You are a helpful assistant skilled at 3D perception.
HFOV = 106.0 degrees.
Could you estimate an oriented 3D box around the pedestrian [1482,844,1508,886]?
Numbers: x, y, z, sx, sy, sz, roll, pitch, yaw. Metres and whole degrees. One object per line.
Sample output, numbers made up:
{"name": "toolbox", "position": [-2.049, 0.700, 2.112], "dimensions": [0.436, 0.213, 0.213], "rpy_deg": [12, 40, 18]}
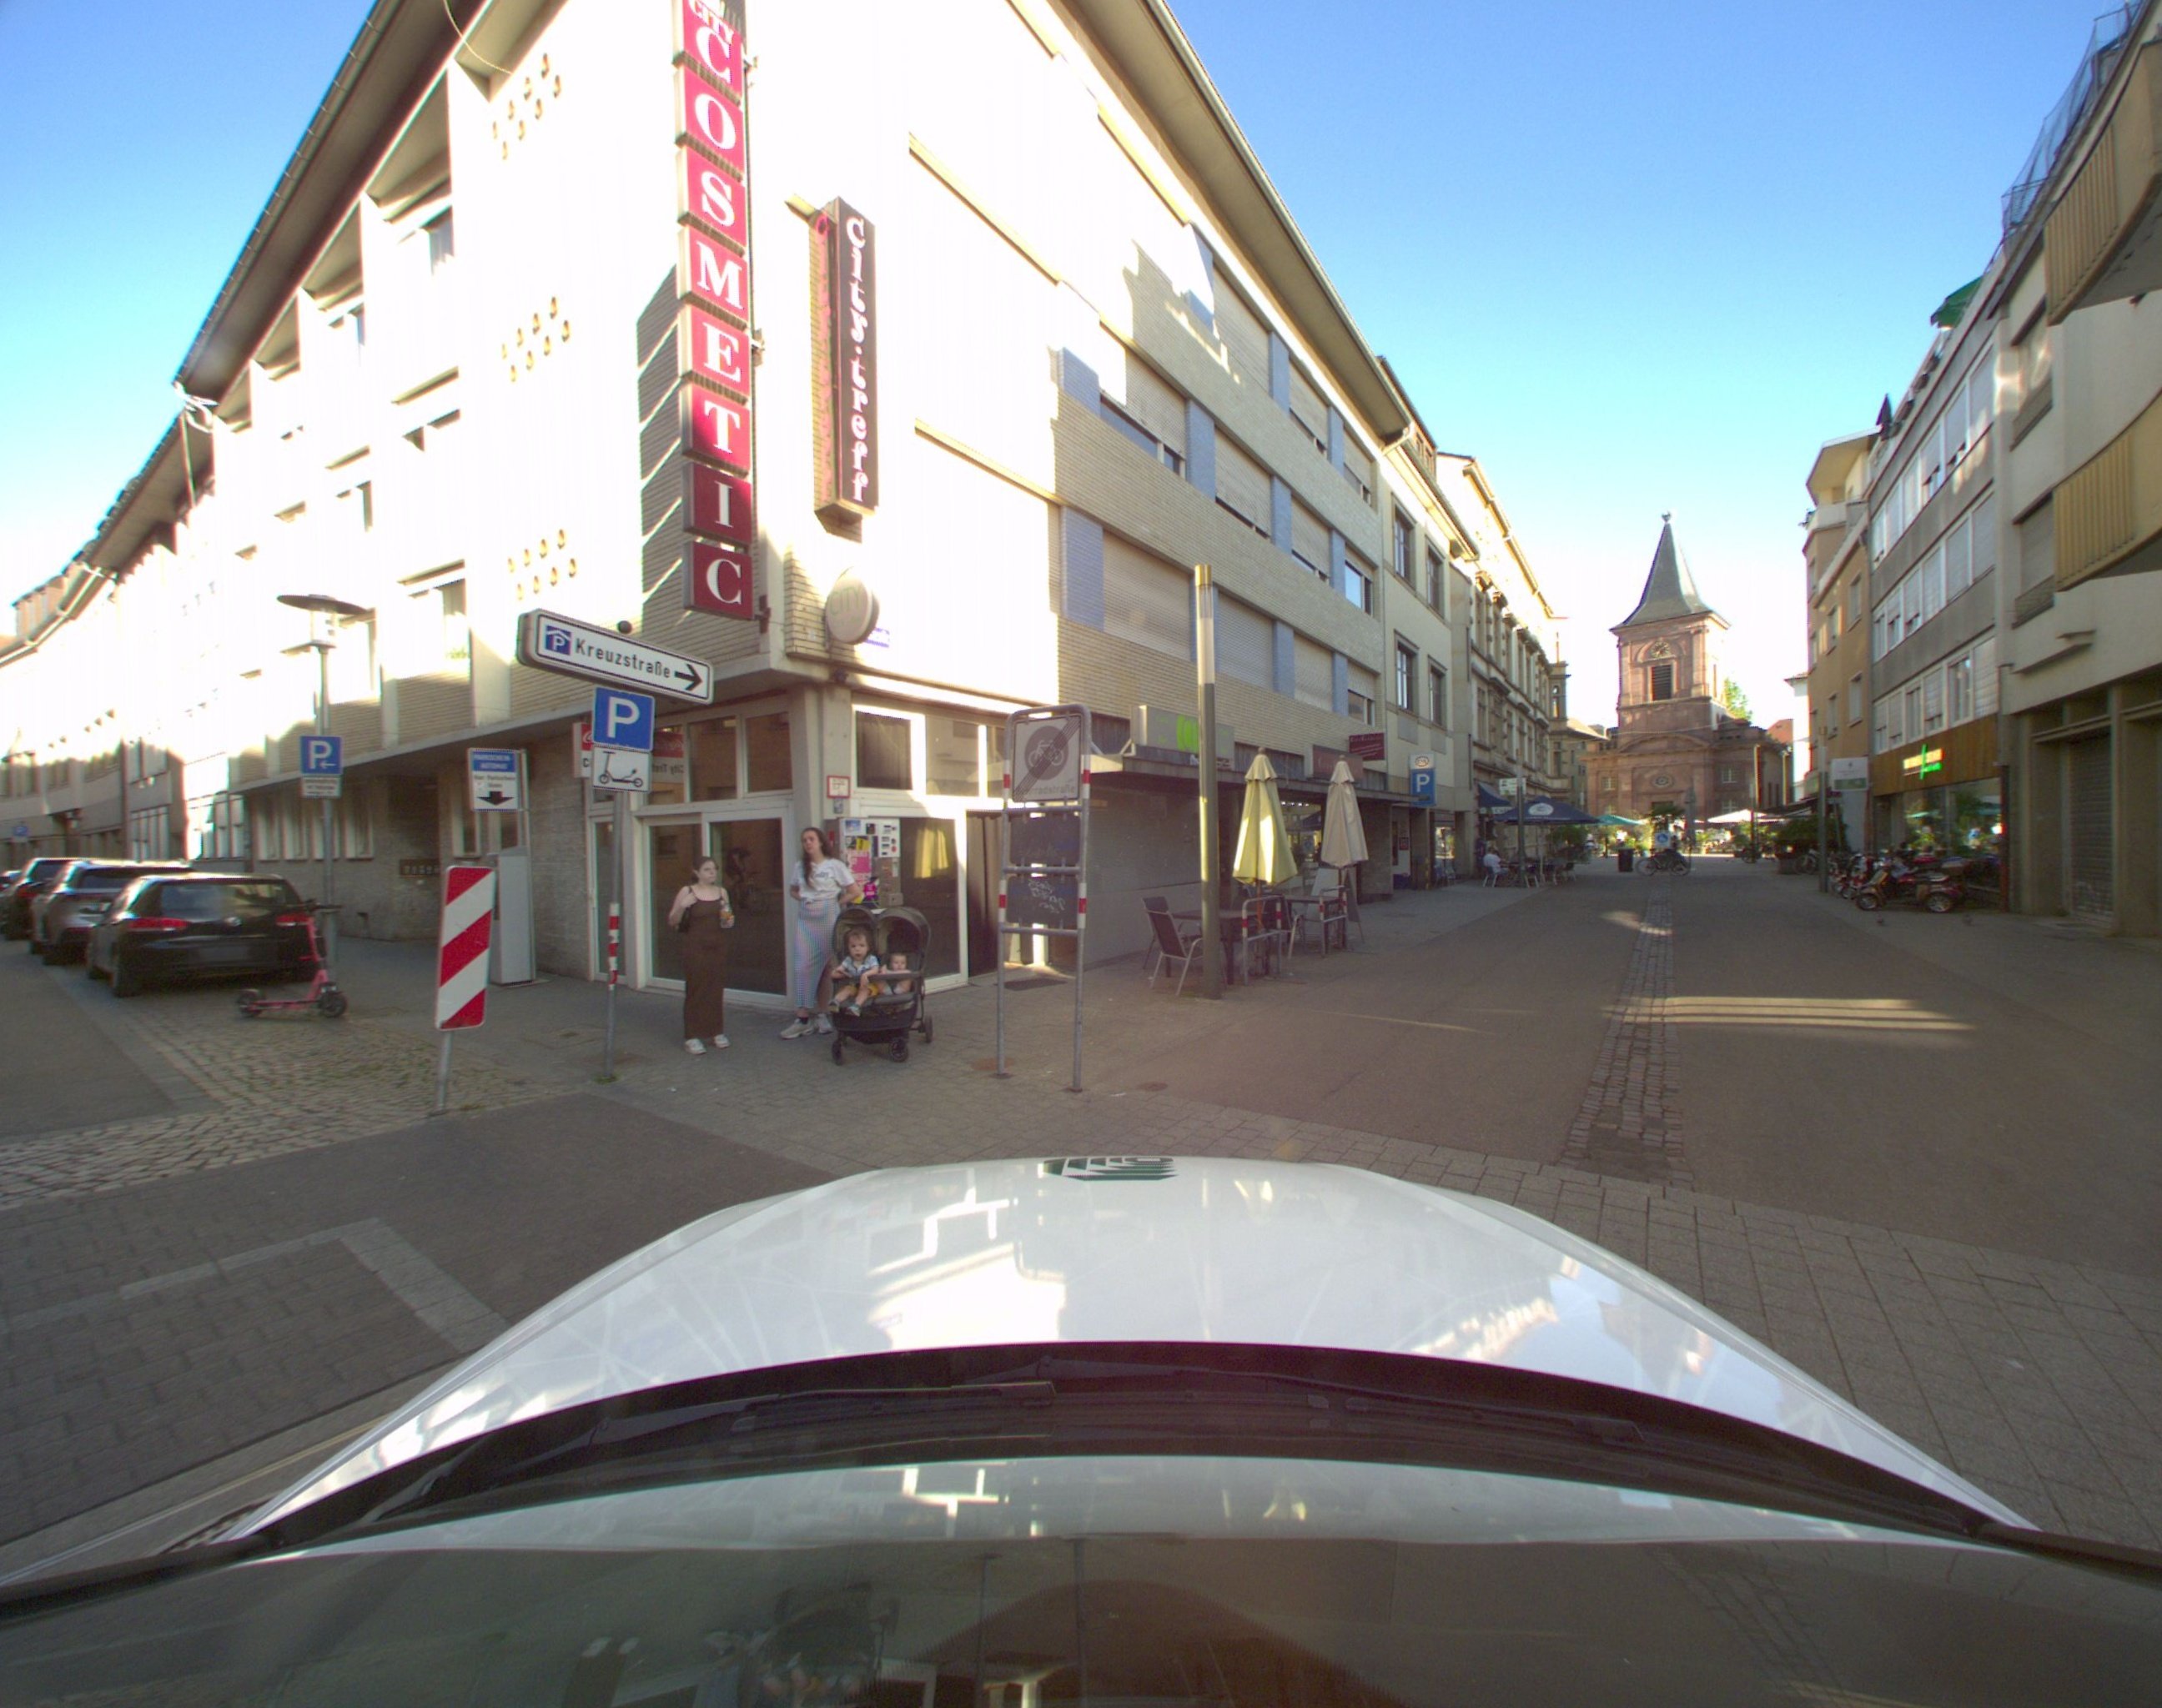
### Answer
{"name": "pedestrian", "position": [13.607, 0.358, 26.776], "dimensions": [0.701, 1.368, 0.724], "rpy_deg": [-1, 0, 24]}

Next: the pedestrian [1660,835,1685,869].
{"name": "pedestrian", "position": [26.210, -0.094, 36.078], "dimensions": [0.875, 1.464, 0.735], "rpy_deg": [-1, 0, 37]}

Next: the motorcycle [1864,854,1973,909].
{"name": "motorcycle", "position": [17.254, 0.547, 16.812], "dimensions": [0.414, 1.075, 1.505], "rpy_deg": [-1, 0, -35]}

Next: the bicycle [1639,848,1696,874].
{"name": "bicycle", "position": [23.388, 0.289, 32.489], "dimensions": [1.806, 1.005, 0.384], "rpy_deg": [-1, 1, 33]}

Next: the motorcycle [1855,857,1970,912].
{"name": "motorcycle", "position": [16.584, 0.598, 16.271], "dimensions": [0.374, 1.041, 1.552], "rpy_deg": [-1, 0, -35]}

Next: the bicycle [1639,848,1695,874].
{"name": "bicycle", "position": [23.603, 0.277, 32.821], "dimensions": [1.806, 1.005, 0.384], "rpy_deg": [-1, 1, 33]}

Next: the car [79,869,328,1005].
{"name": "car", "position": [-11.831, 0.963, 10.930], "dimensions": [3.762, 1.486, 1.752], "rpy_deg": [0, -1, 35]}

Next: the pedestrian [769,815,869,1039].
{"name": "pedestrian", "position": [-2.240, 0.594, 7.039], "dimensions": [0.658, 1.819, 0.568], "rpy_deg": [-4, 2, -13]}

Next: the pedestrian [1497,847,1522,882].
{"name": "pedestrian", "position": [15.255, 0.374, 28.986], "dimensions": [0.757, 1.233, 0.836], "rpy_deg": [-1, 1, 28]}

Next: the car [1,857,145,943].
{"name": "car", "position": [-22.185, 0.949, 17.890], "dimensions": [3.960, 1.704, 1.684], "rpy_deg": [-1, -2, 35]}

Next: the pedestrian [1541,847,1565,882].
{"name": "pedestrian", "position": [16.712, 0.362, 28.836], "dimensions": [0.685, 1.215, 0.587], "rpy_deg": [-1, 0, 28]}

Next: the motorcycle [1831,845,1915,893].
{"name": "motorcycle", "position": [20.176, 0.379, 20.760], "dimensions": [0.414, 1.181, 1.471], "rpy_deg": [-1, 0, -39]}

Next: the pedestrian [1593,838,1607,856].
{"name": "pedestrian", "position": [35.958, -0.466, 56.439], "dimensions": [0.694, 1.218, 0.724], "rpy_deg": [-1, 1, 42]}

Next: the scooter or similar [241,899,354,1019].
{"name": "scooter or similar", "position": [-8.080, 1.076, 8.410], "dimensions": [0.878, 1.183, 0.208], "rpy_deg": [-1, 0, -5]}

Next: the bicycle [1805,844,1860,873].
{"name": "bicycle", "position": [27.019, 0.167, 29.297], "dimensions": [1.449, 1.005, 0.576], "rpy_deg": [-1, 1, 43]}

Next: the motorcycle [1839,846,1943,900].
{"name": "motorcycle", "position": [18.442, 0.428, 18.577], "dimensions": [0.482, 1.175, 1.612], "rpy_deg": [-1, 0, -35]}

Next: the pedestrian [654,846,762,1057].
{"name": "pedestrian", "position": [-2.992, 0.748, 6.546], "dimensions": [0.504, 1.579, 0.537], "rpy_deg": [-1, 3, 42]}

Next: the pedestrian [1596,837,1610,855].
{"name": "pedestrian", "position": [36.889, -0.557, 57.541], "dimensions": [0.694, 1.218, 0.724], "rpy_deg": [-1, 1, 42]}

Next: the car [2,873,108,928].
{"name": "car", "position": [-27.776, 1.204, 22.030], "dimensions": [3.578, 1.391, 1.530], "rpy_deg": [-1, -2, 35]}

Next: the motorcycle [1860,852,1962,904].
{"name": "motorcycle", "position": [17.881, 0.511, 17.574], "dimensions": [0.414, 1.075, 1.472], "rpy_deg": [-1, 0, -35]}

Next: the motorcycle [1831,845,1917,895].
{"name": "motorcycle", "position": [19.646, 0.398, 20.194], "dimensions": [0.414, 1.181, 1.471], "rpy_deg": [-1, 0, -39]}

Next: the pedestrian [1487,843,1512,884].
{"name": "pedestrian", "position": [14.255, 0.306, 27.744], "dimensions": [0.711, 1.368, 0.714], "rpy_deg": [-1, 0, 24]}

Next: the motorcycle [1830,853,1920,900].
{"name": "motorcycle", "position": [18.873, 0.518, 19.386], "dimensions": [0.414, 1.075, 1.472], "rpy_deg": [-1, 0, -35]}

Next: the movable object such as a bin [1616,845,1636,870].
{"name": "movable object such as a bin", "position": [24.138, 0.154, 36.041], "dimensions": [0.714, 1.074, 0.376], "rpy_deg": [-1, 0, 35]}

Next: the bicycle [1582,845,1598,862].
{"name": "bicycle", "position": [27.973, -0.032, 44.716], "dimensions": [0.452, 0.850, 2.160], "rpy_deg": [-1, 1, 39]}

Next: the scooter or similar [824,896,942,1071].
{"name": "scooter or similar", "position": [-1.519, 0.951, 6.348], "dimensions": [0.797, 1.143, 0.950], "rpy_deg": [-1, 2, -12]}

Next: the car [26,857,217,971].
{"name": "car", "position": [-16.244, 0.911, 13.736], "dimensions": [4.028, 1.661, 1.684], "rpy_deg": [-1, -2, 35]}
